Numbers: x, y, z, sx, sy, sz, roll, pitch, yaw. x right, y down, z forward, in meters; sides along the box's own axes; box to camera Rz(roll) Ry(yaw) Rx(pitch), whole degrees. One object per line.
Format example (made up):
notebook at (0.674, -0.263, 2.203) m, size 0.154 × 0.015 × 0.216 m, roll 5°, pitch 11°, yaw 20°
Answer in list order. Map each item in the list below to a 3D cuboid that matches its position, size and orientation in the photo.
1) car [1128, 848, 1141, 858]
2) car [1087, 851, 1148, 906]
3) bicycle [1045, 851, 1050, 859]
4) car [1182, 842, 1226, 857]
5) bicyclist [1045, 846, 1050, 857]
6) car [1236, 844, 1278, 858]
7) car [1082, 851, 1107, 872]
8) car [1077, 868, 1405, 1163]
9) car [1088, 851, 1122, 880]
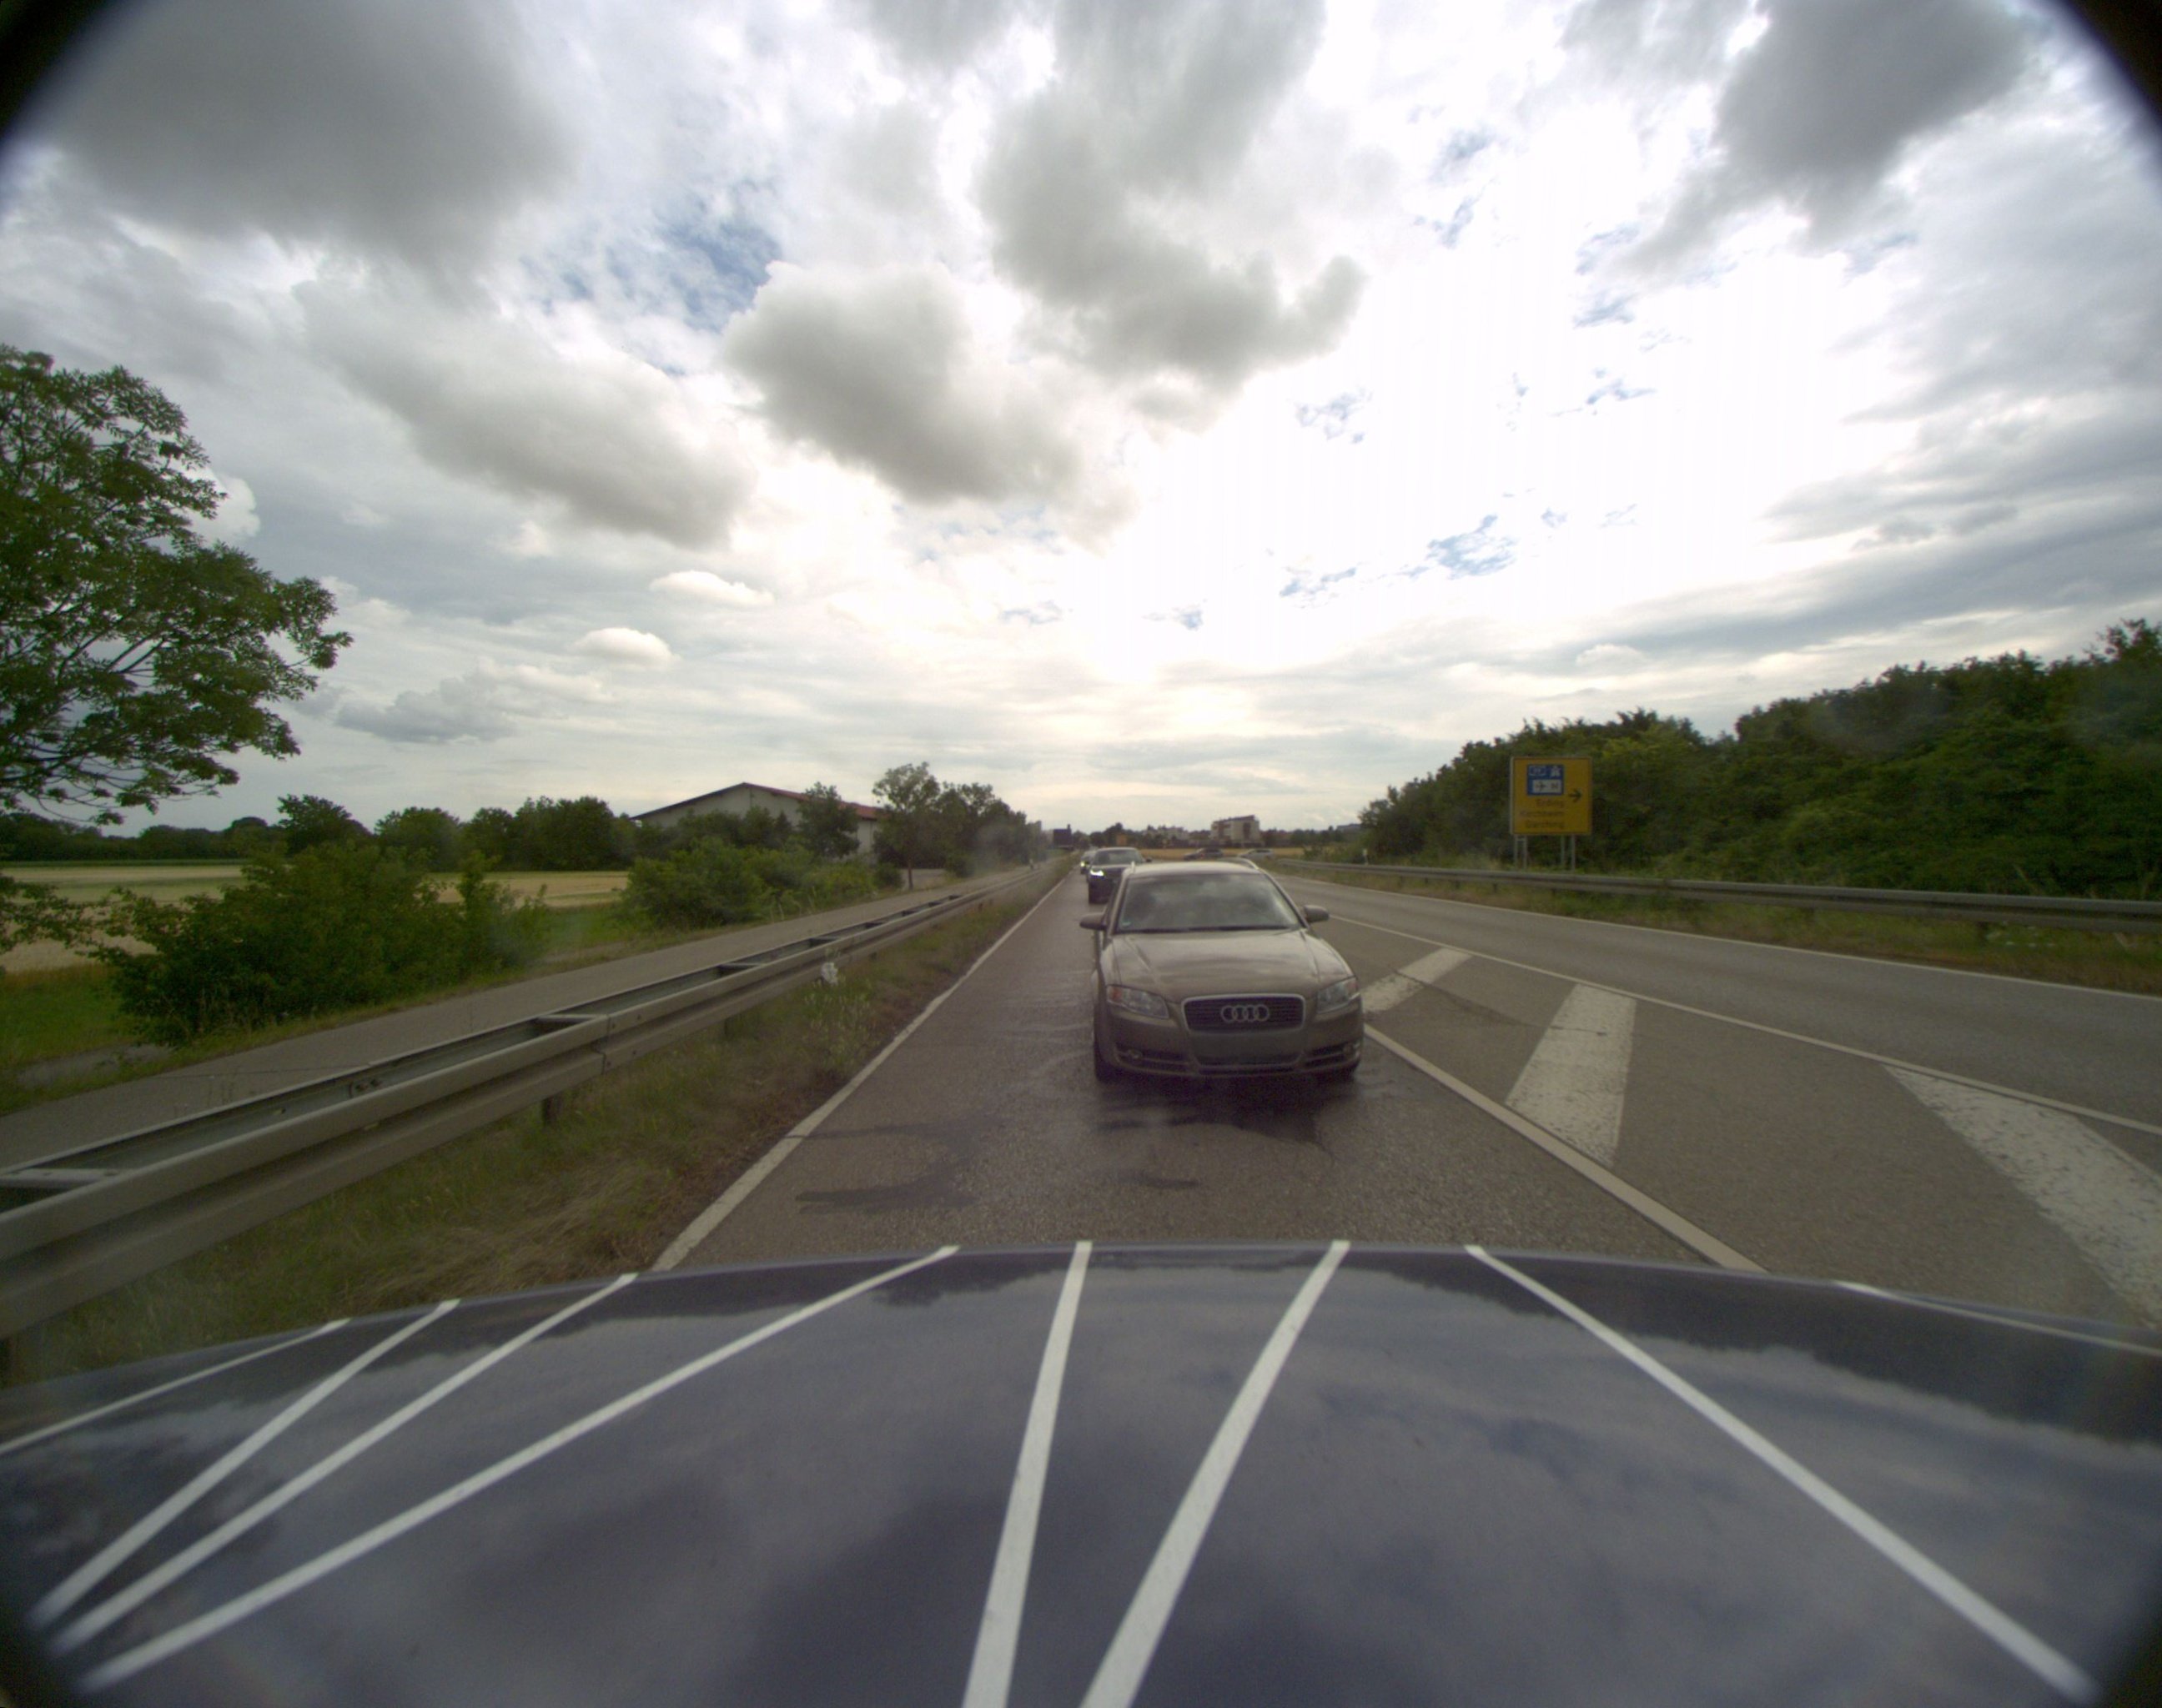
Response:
car at (8.534, -0.176, 121.542) m, size 1.804 × 1.442 × 4.445 m, roll -1°, pitch 1°, yaw 0°
car at (1.078, 0.703, 24.234) m, size 1.730 × 1.534 × 4.204 m, roll -2°, pitch 1°, yaw 1°
bicycle at (-4.701, 0.149, 106.423) m, size 0.640 × 0.973 × 2.072 m, roll -1°, pitch 1°, yaw 1°
car at (14.508, -0.503, 89.836) m, size 4.815 × 1.680 × 1.999 m, roll -1°, pitch 1°, yaw -3°
bicyclist at (-4.710, -0.388, 106.393) m, size 0.640 × 1.573 × 0.969 m, roll -1°, pitch 1°, yaw 1°
car at (20.731, -0.337, 89.692) m, size 4.672 × 1.490 × 2.001 m, roll -1°, pitch 1°, yaw 10°
car at (0.992, 0.515, 57.247) m, size 1.730 × 1.436 × 4.204 m, roll -2°, pitch 1°, yaw 1°
car at (0.883, 0.913, 6.177) m, size 1.730 × 1.436 × 4.204 m, roll -1°, pitch 1°, yaw 1°
car at (1.263, 0.594, 41.933) m, size 1.730 × 1.478 × 4.204 m, roll -2°, pitch 1°, yaw 1°
